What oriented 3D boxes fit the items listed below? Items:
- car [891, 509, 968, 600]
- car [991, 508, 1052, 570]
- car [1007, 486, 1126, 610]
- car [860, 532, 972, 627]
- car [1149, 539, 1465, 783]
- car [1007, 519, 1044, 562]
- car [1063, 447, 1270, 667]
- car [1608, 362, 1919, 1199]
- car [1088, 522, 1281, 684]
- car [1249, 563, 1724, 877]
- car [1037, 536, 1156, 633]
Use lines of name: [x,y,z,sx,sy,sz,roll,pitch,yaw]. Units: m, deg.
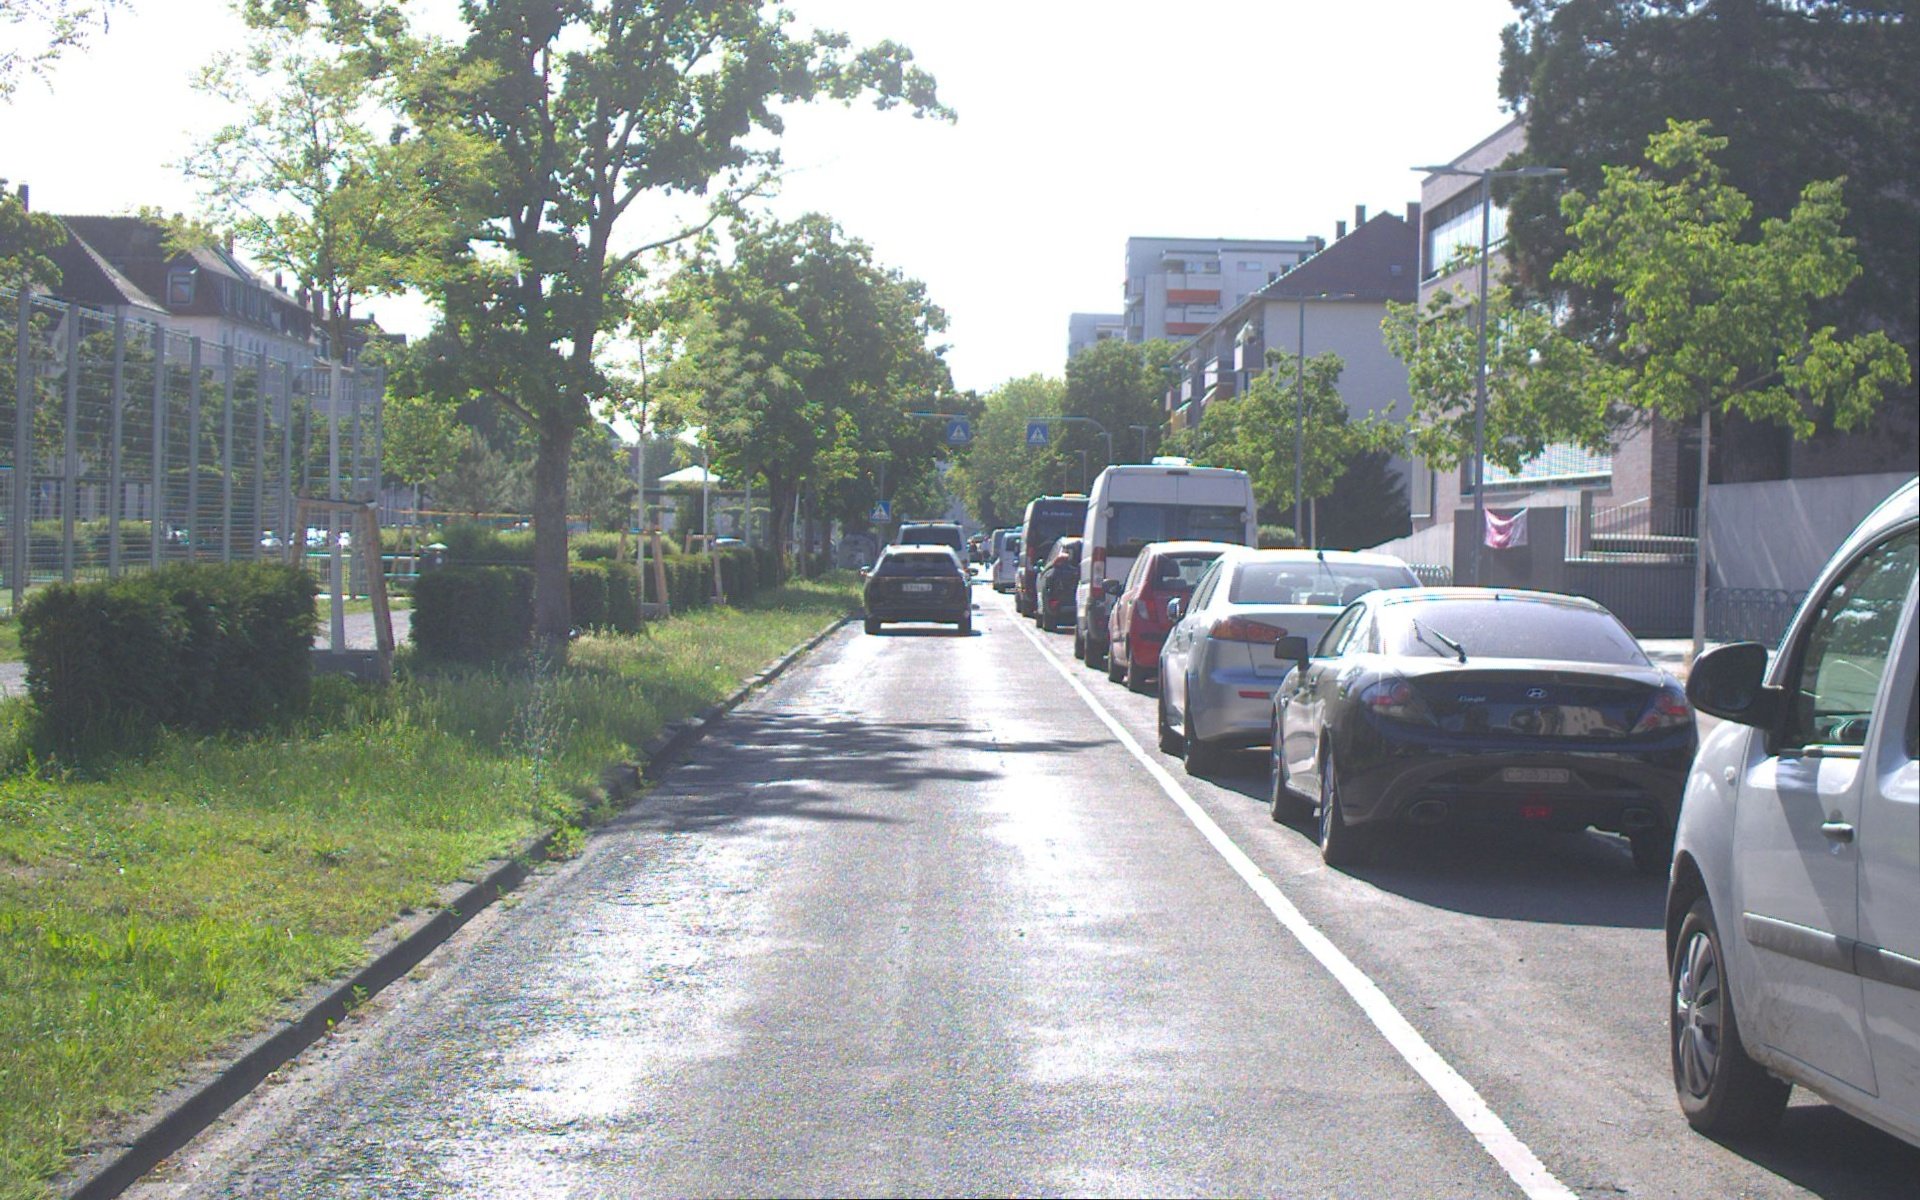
car: [-0.719,-1.120,83.590,1.794,2.115,4.000,1,1,0]
car: [1.946,-1.911,107.276,1.794,1.848,4.413,2,1,2]
car: [2.230,-1.119,73.725,2.115,2.507,6.533,1,1,-2]
car: [-0.710,-0.379,58.153,1.794,1.505,4.000,1,1,0]
car: [2.290,0.348,23.651,1.701,1.473,4.174,2,1,0]
car: [3.914,-3.558,205.763,1.993,2.422,4.500,3,1,0]
car: [2.553,-0.559,43.959,2.241,2.565,5.432,2,1,0]
car: [2.794,0.494,7.285,1.808,1.902,4.462,2,1,-2]
car: [2.316,-0.011,36.237,1.619,1.583,3.592,1,1,-2]
car: [2.540,0.518,17.517,1.701,1.321,4.130,2,1,-1]
car: [2.409,-0.304,61.610,1.846,1.634,4.504,1,1,-1]
